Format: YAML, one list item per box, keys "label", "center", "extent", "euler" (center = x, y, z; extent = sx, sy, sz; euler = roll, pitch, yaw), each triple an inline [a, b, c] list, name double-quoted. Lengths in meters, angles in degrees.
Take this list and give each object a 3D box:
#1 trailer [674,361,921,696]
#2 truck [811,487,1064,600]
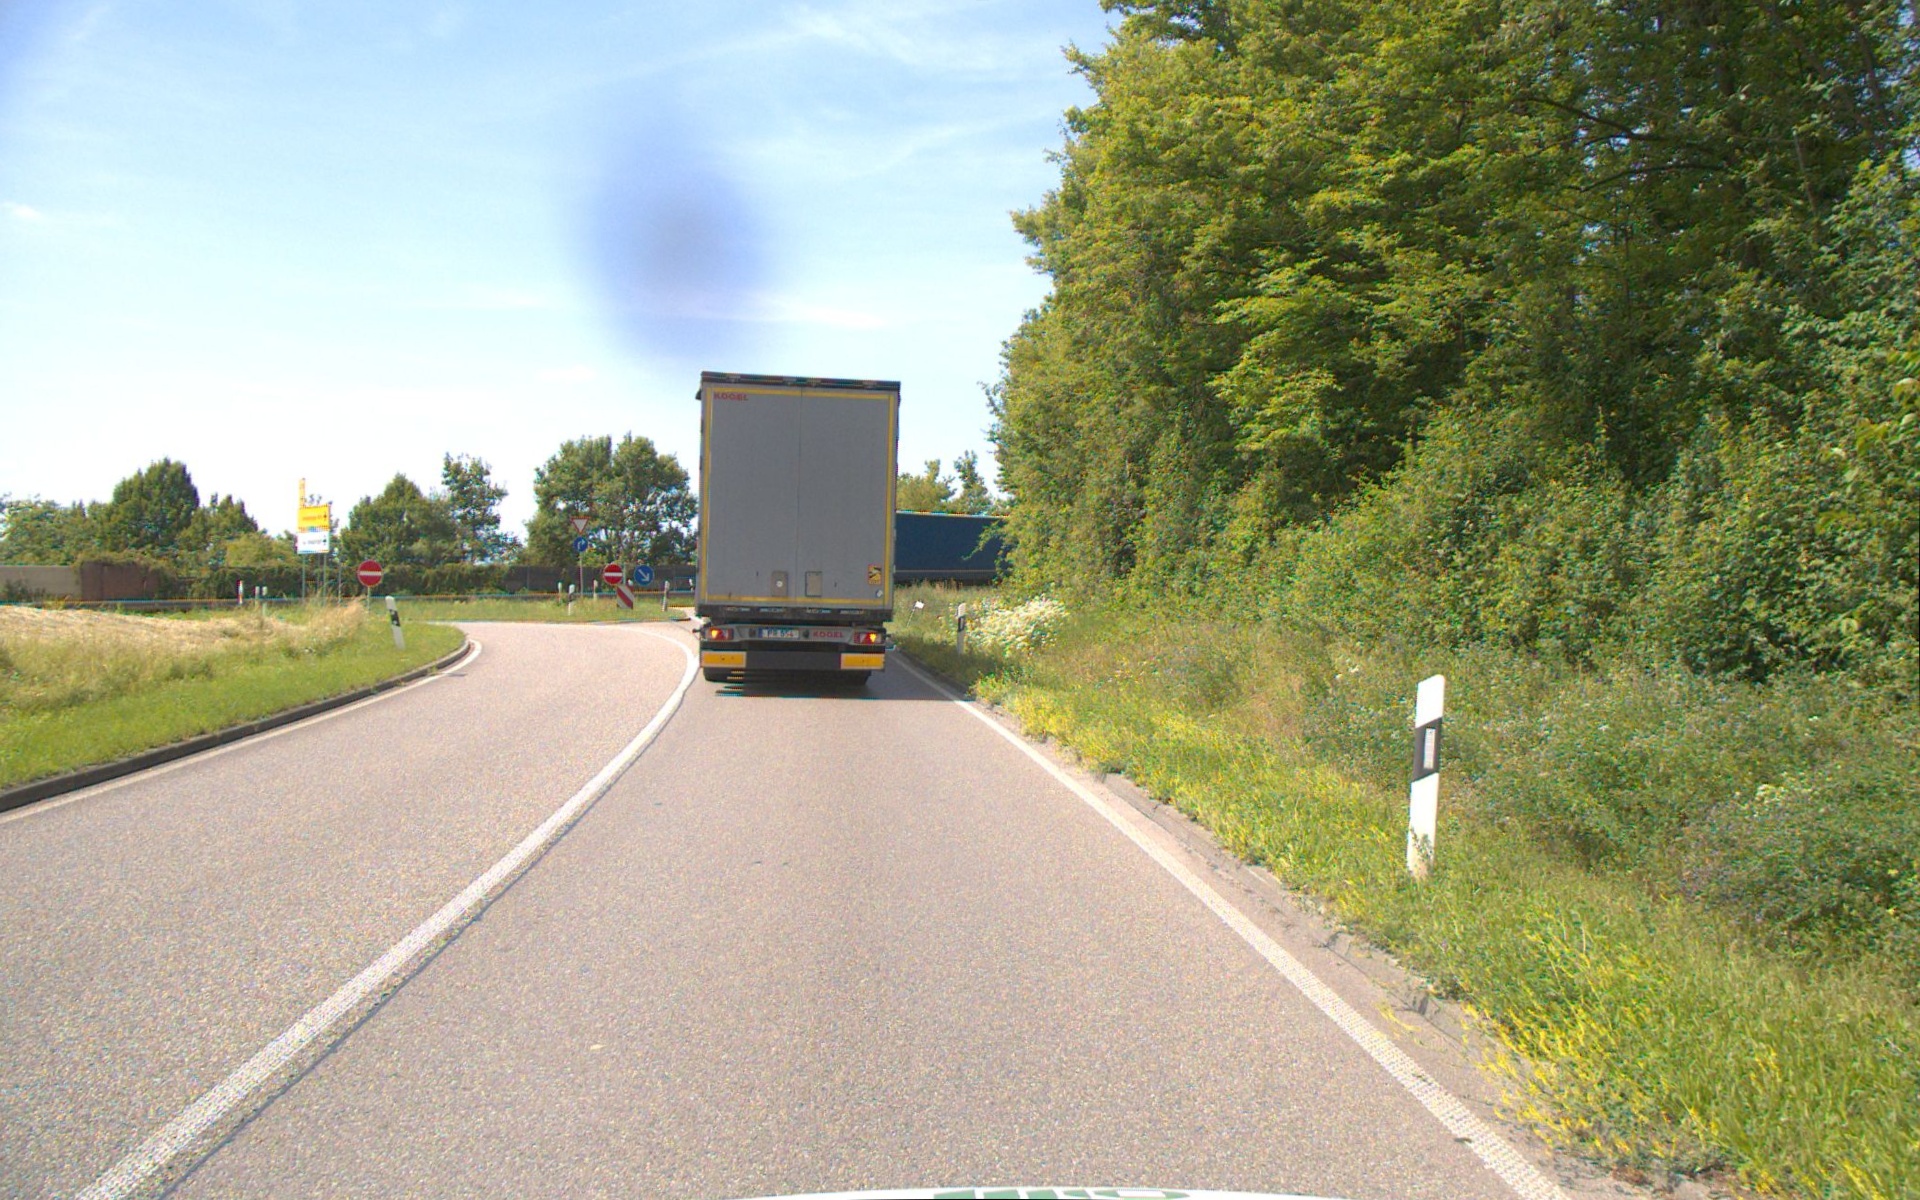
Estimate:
- label: "trailer"
  center: [-2.704, -0.982, 27.282]
  extent: [2.969, 4.105, 13.336]
  euler: [1, 1, -6]
- label: "truck"
  center: [-0.628, -2.556, 78.705]
  extent: [3.760, 4.827, 16.159]
  euler: [0, 1, 33]
